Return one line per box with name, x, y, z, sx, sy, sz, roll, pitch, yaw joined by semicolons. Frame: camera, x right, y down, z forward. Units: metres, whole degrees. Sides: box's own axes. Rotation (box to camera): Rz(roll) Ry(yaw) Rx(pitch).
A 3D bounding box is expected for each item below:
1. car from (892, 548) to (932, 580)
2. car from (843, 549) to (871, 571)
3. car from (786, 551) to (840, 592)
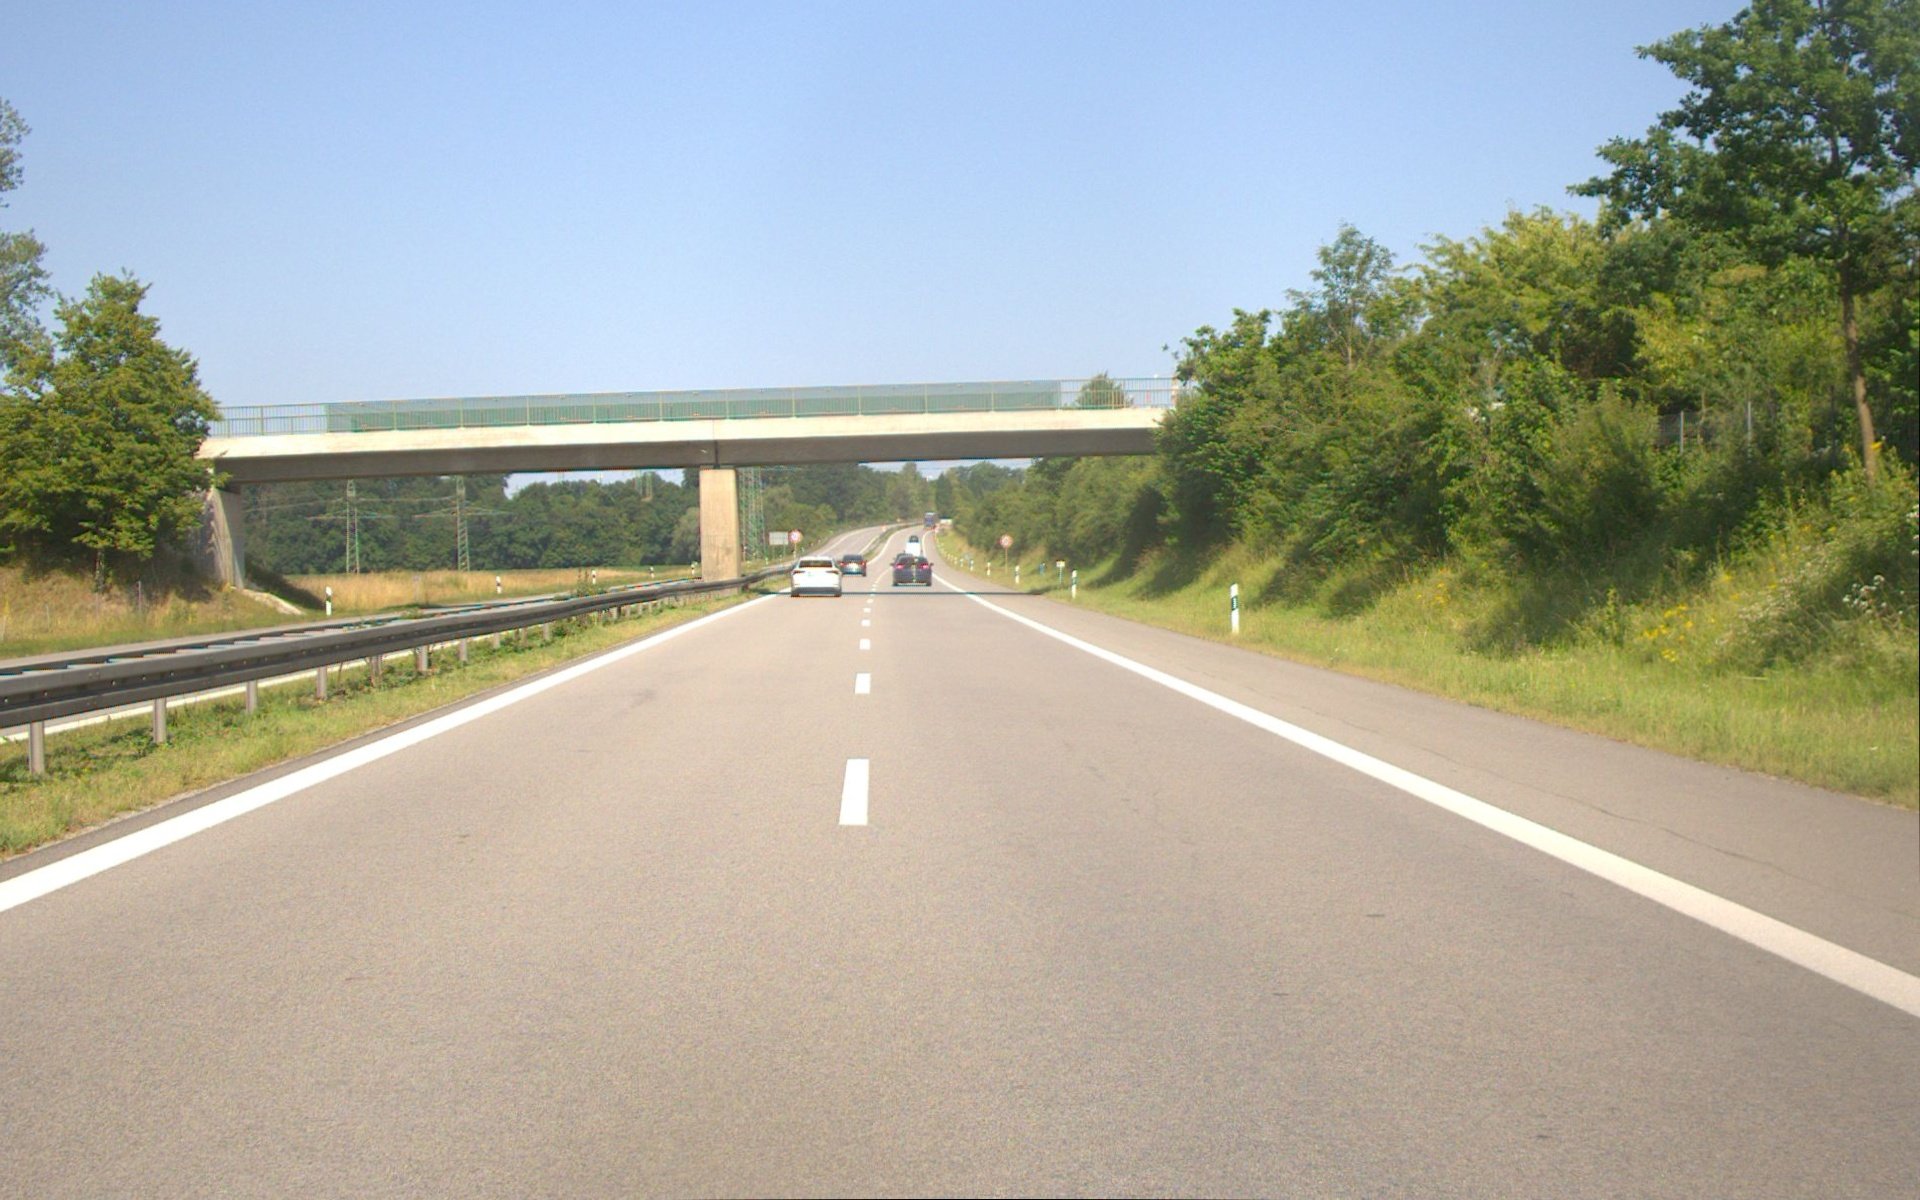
car;-2.300;-1.719;164.615;1.843;1.515;4.000;1;1;-2
car;-6.818;-2.652;228.418;1.843;1.431;4.000;1;1;-2
car;-5.199;-1.017;122.283;1.843;1.411;4.000;1;1;-2
